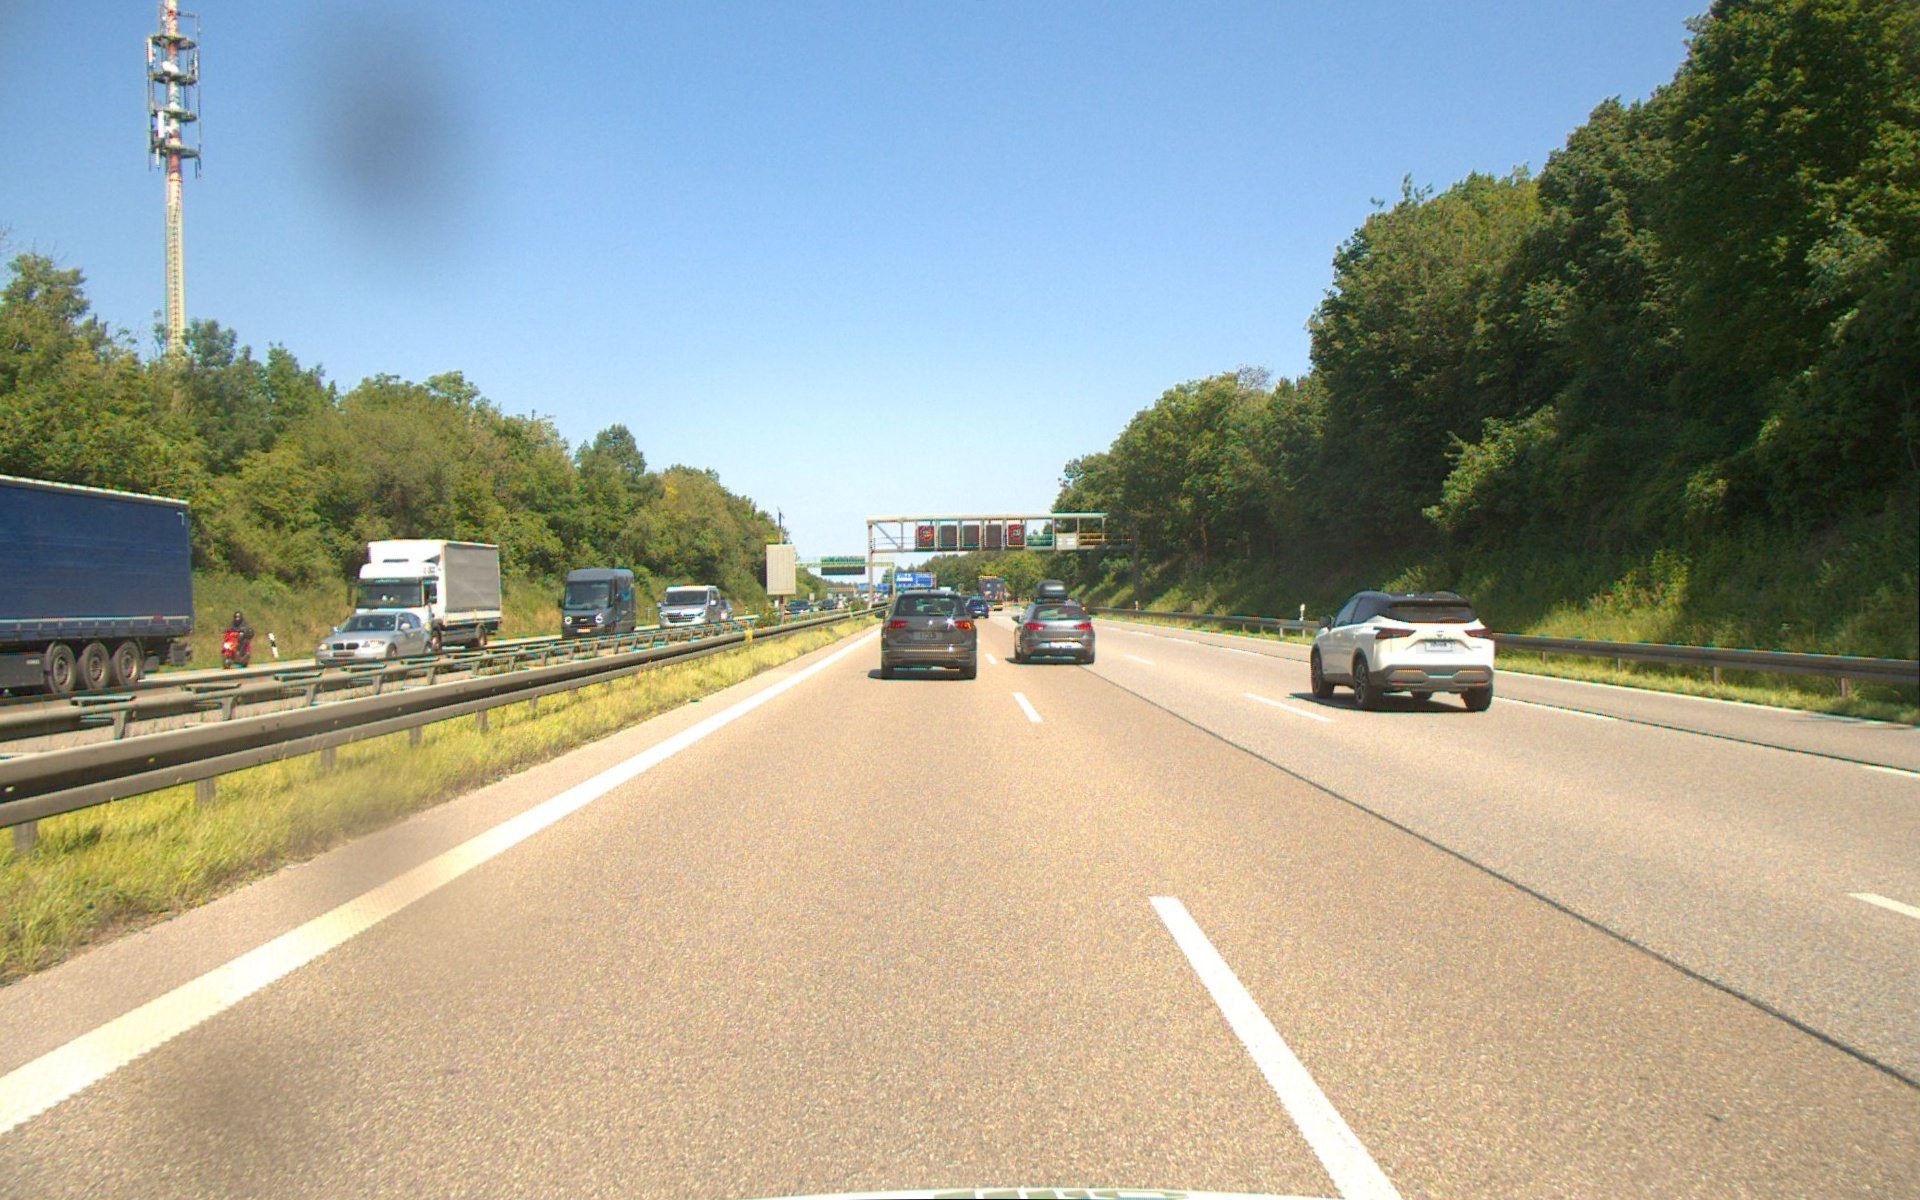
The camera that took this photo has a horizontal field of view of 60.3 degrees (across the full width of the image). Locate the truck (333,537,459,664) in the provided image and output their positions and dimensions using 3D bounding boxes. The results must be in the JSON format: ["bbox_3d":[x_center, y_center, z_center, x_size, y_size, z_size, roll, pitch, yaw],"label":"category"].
[{"bbox_3d":[-18.353,-0.003,54.070,2.648,3.875,3.999,-2,0,-1],"label":"truck"}]

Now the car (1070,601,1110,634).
[{"bbox_3d":[6.586,0.862,84.405,1.728,1.595,4.258,1,0,1],"label":"car"}]

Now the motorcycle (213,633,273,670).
[{"bbox_3d":[-21.542,1.545,49.741,0.808,0.987,2.277,-4,0,-1],"label":"motorcycle"}]

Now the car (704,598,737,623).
[{"bbox_3d":[-15.074,0.664,104.194,1.641,1.522,3.544,-1,0,-1],"label":"car"}]

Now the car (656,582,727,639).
[{"bbox_3d":[-10.303,0.385,63.852,1.889,2.015,5.233,-3,0,-1],"label":"car"}]

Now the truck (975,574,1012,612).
[{"bbox_3d":[3.903,-0.816,199.409,3.704,4.499,14.044,0,0,-2],"label":"truck"}]

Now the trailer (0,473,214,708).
[{"bbox_3d":[-18.166,-0.113,30.399,2.562,4.129,14.166,-3,0,-1],"label":"trailer"}]

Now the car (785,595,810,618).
[{"bbox_3d":[-11.183,0.423,113.857,1.404,1.555,3.456,-1,0,-1],"label":"car"}]

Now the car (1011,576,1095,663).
[{"bbox_3d":[2.154,0.419,39.410,1.631,1.909,4.826,-1,0,-1],"label":"car"}]

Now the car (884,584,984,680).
[{"bbox_3d":[-0.442,0.571,31.773,1.762,1.698,4.258,1,0,1],"label":"car"}]

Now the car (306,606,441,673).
[{"bbox_3d":[-13.938,0.902,39.559,1.679,1.443,4.503,-1,0,-1],"label":"car"}]

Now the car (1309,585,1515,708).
[{"bbox_3d":[6.411,0.611,23.921,1.806,1.595,4.035,1,0,-1],"label":"car"}]

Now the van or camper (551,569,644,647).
[{"bbox_3d":[-14.539,0.300,66.800,2.153,2.860,6.797,-3,0,0],"label":"van or camper"}]

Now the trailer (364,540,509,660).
[{"bbox_3d":[-18.420,-0.007,58.704,2.657,3.875,7.691,-2,0,-1],"label":"trailer"}]

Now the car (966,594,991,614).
[{"bbox_3d":[1.364,0.255,121.343,1.728,1.406,4.258,1,0,1],"label":"car"}]

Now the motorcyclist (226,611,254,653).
[{"bbox_3d":[-21.594,0.959,49.606,0.536,1.241,0.681,-1,0,0],"label":"motorcyclist"}]
